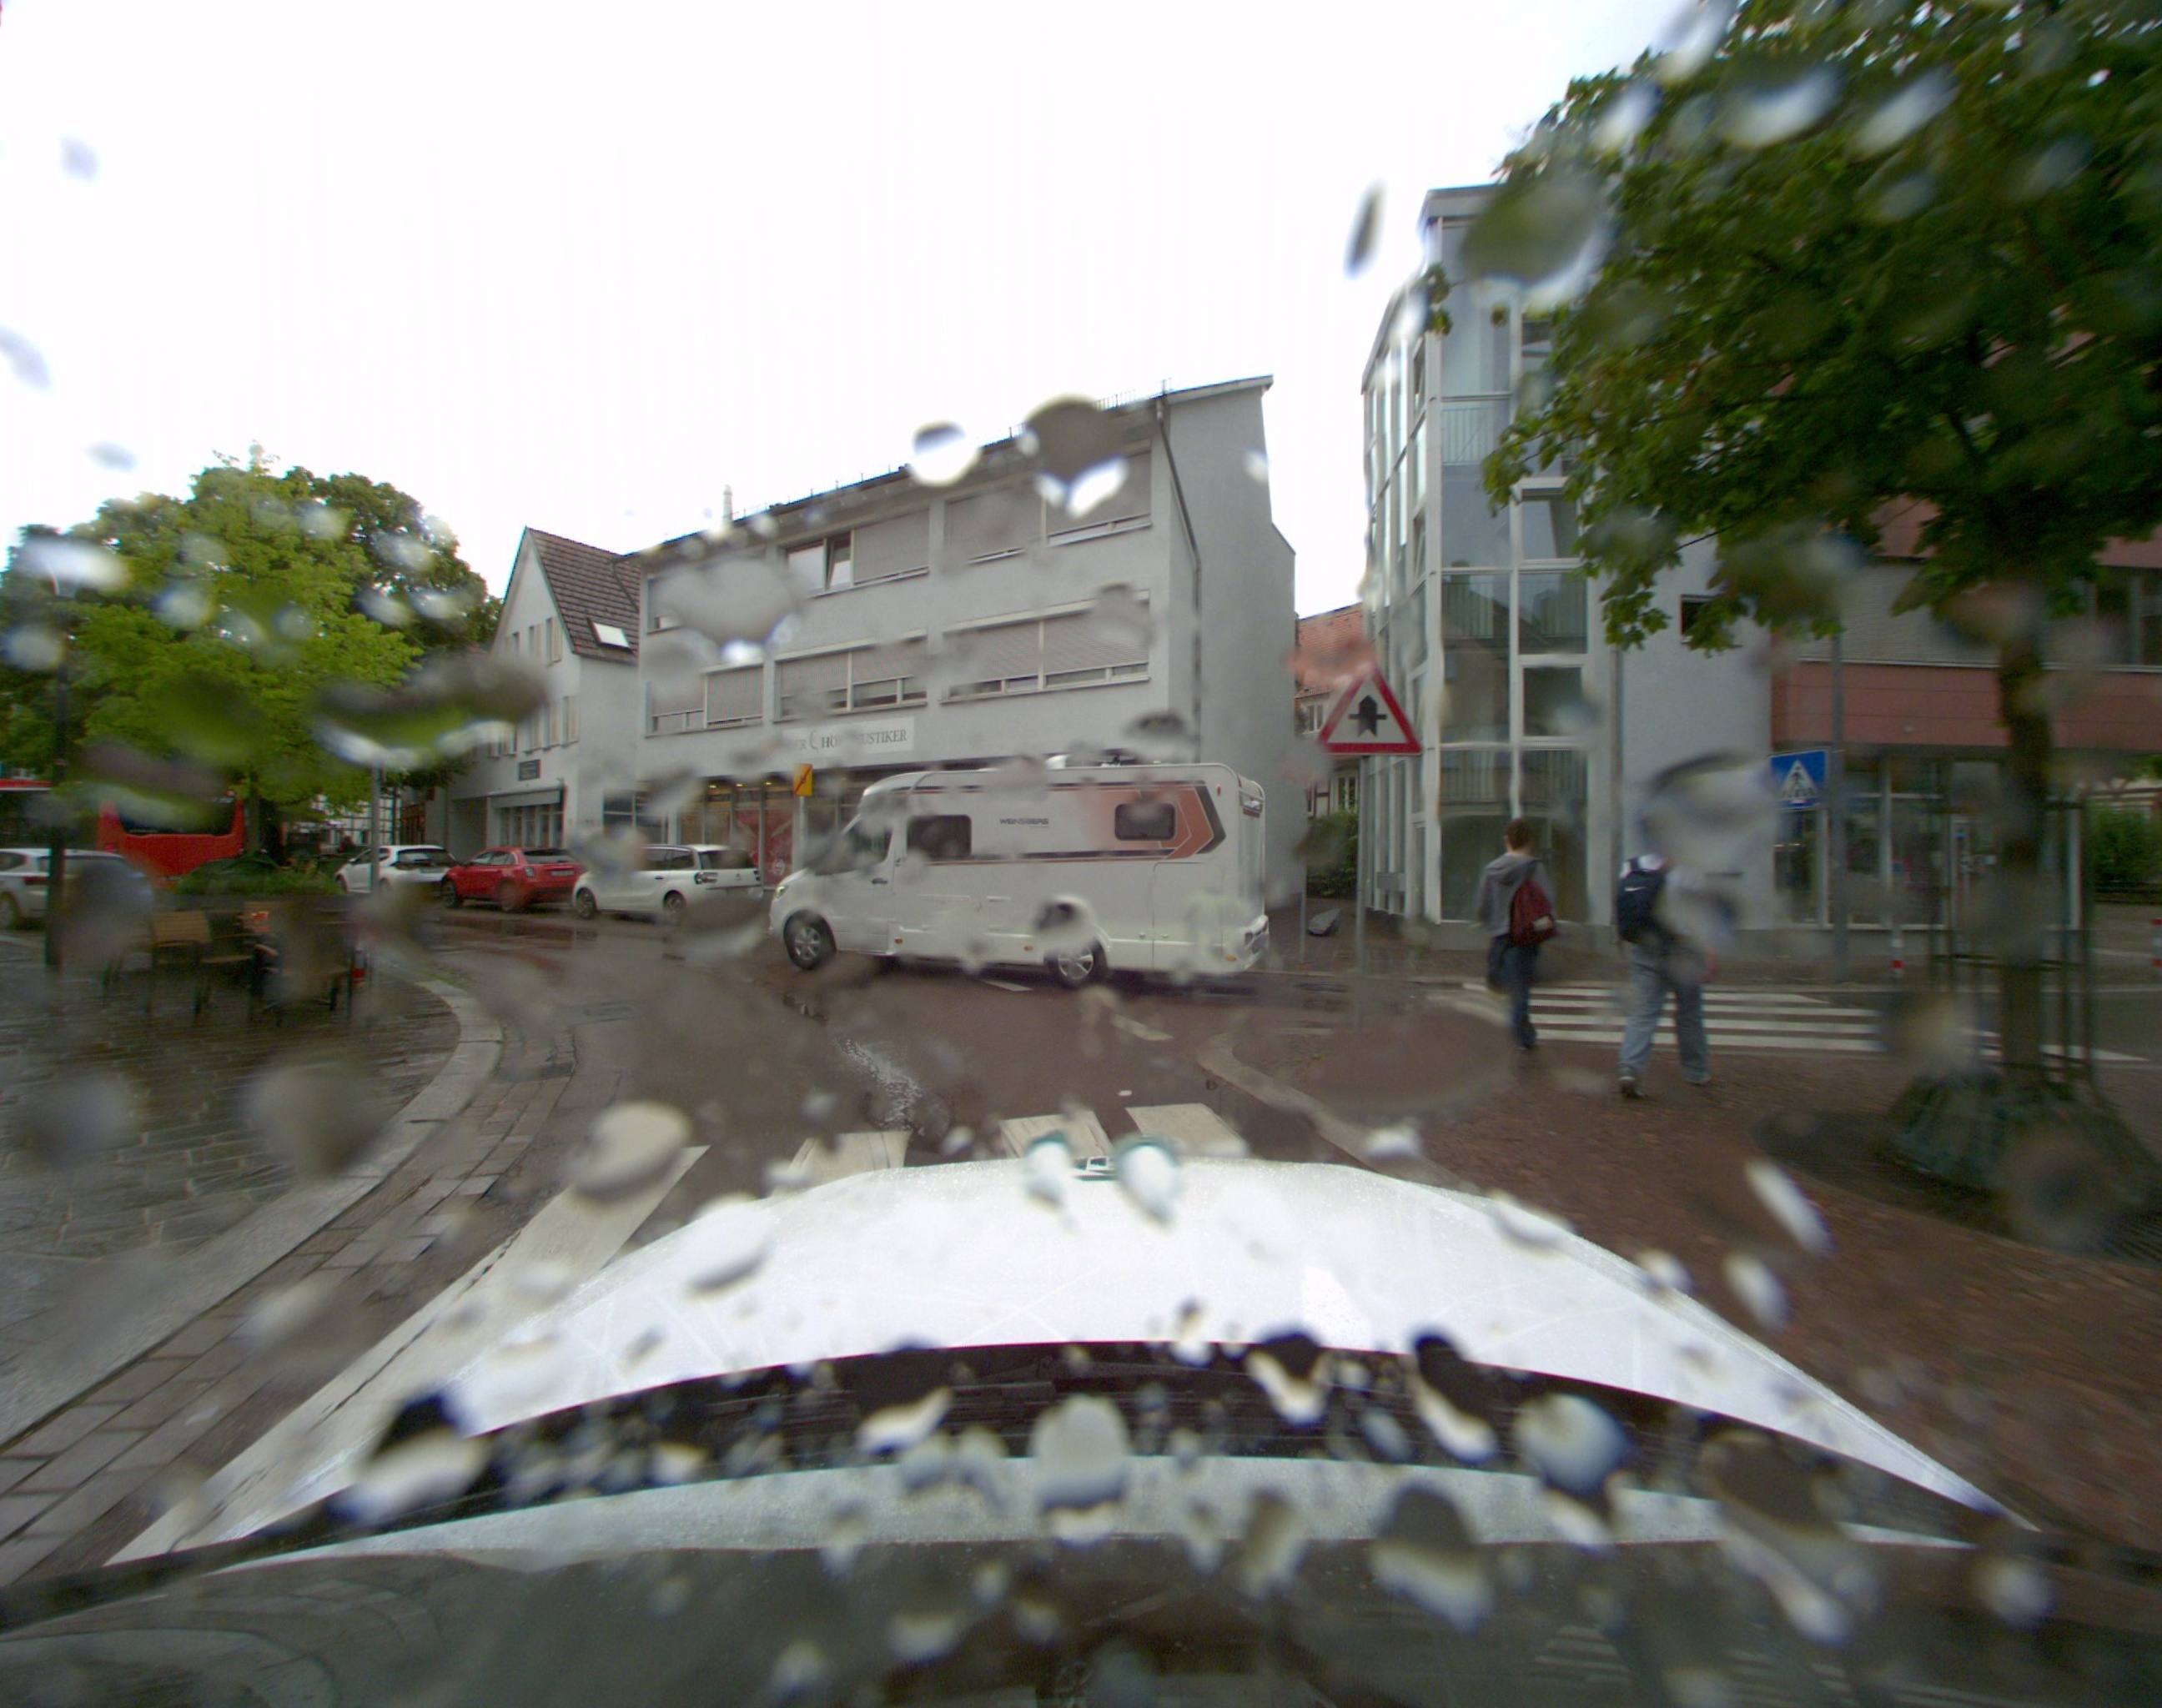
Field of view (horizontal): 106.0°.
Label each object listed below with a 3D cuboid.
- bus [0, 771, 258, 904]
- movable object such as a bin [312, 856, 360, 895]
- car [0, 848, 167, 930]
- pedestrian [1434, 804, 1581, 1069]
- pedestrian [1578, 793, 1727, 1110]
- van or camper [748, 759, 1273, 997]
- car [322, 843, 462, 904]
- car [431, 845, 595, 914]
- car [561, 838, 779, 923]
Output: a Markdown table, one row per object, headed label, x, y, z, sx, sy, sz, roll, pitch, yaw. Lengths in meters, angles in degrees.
| label | x | y | z | sx | sy | sz | roll | pitch | yaw |
| --- | --- | --- | --- | --- | --- | --- | --- | --- | --- |
| bus | -27.270 | -0.481 | 21.864 | 10.488 | 3.088 | 2.835 | 1 | 1 | 18 |
| movable object such as a bin | -21.682 | 0.608 | 23.713 | 0.554 | 1.112 | 0.840 | 0 | -1 | 23 |
| car | -19.979 | 0.611 | 15.595 | 3.937 | 1.415 | 1.734 | 1 | -2 | 17 |
| pedestrian | 3.240 | 0.571 | 6.168 | 1.064 | 1.800 | 0.686 | 1 | -2 | -45 |
| pedestrian | 3.717 | 0.562 | 5.273 | 0.657 | 1.807 | 1.067 | -1 | -2 | 42 |
| van or camper | -0.960 | 0.254 | 11.132 | 6.672 | 2.586 | 2.458 | 1 | -1 | 20 |
| car | -19.057 | 0.479 | 22.509 | 3.751 | 1.528 | 1.693 | 1 | 1 | 28 |
| car | -13.879 | 0.559 | 19.888 | 3.752 | 1.528 | 1.693 | 1 | 1 | 27 |
| car | -8.901 | 0.499 | 17.613 | 4.415 | 1.631 | 1.792 | 1 | 0 | 24 |
